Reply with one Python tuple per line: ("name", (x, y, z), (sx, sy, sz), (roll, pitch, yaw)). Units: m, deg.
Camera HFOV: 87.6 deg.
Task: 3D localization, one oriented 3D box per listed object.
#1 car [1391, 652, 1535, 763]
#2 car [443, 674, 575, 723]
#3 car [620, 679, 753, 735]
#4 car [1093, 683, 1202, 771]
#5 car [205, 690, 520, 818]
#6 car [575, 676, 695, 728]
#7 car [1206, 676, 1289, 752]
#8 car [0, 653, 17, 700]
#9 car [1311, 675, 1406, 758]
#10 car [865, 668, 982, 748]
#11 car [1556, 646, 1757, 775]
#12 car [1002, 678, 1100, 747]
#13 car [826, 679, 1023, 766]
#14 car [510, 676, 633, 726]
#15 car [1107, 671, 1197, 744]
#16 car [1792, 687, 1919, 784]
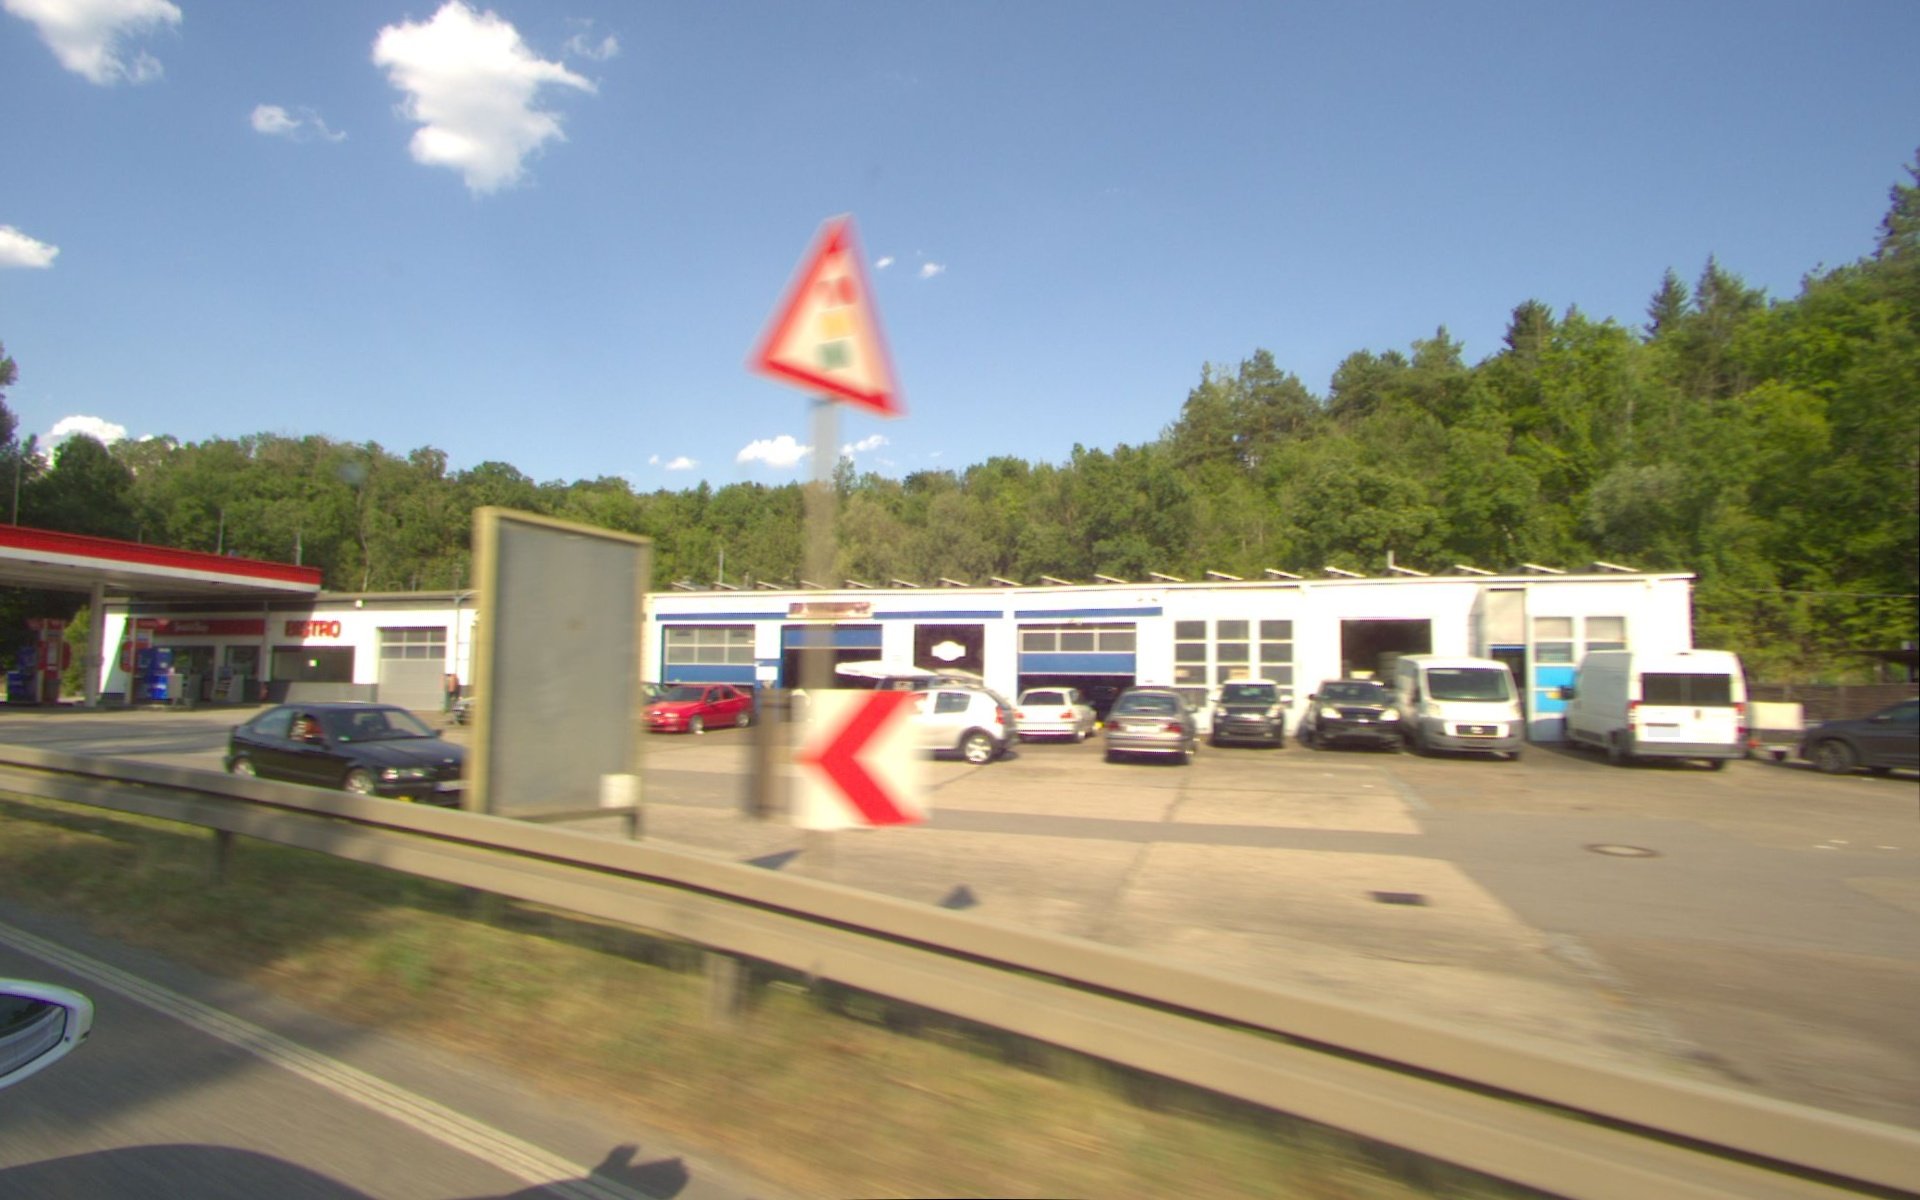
("car", (11.800, 2.401, 23.907), (2.254, 2.302, 5.486), (0, -3, 18))
("car", (-14.348, 3.115, 32.097), (1.744, 1.371, 3.969), (0, -3, 14))
("car", (-8.050, 3.128, 29.866), (1.861, 1.365, 4.076), (0, -3, 18))
("car", (4.241, 2.687, 22.038), (1.922, 1.452, 4.731), (0, -2, 16))
("car", (-8.327, 2.024, 13.909), (4.206, 1.369, 1.824), (-1, -4, 28))
("car", (-9.875, 3.078, 30.684), (1.703, 1.463, 3.554), (0, -4, 18))
("car", (7.357, 2.806, 25.392), (1.861, 1.630, 4.250), (0, -3, 18))
("car", (-36.593, 2.669, 35.655), (5.087, 1.647, 2.098), (0, -4, 18))
("car", (9.576, 2.740, 24.346), (1.890, 1.631, 4.167), (0, -2, 18))
("car", (-0.853, 2.726, 26.202), (1.857, 1.750, 4.258), (0, -2, 15))
("car", (15.194, 2.290, 22.229), (2.167, 2.479, 4.921), (0, -3, 16))
("car", (2.504, 2.913, 26.608), (1.836, 1.480, 4.155), (0, -2, 16))
("car", (-0.720, 2.589, 21.685), (3.915, 1.616, 1.795), (0, -2, 14))
("car", (-12.068, 3.123, 31.342), (1.661, 1.423, 3.560), (0, -4, 18))
("car", (5.196, 2.791, 26.755), (1.861, 1.631, 3.995), (0, -2, 18))
("car", (18.751, 2.612, 18.831), (1.911, 1.690, 4.393), (3, -2, -22))
